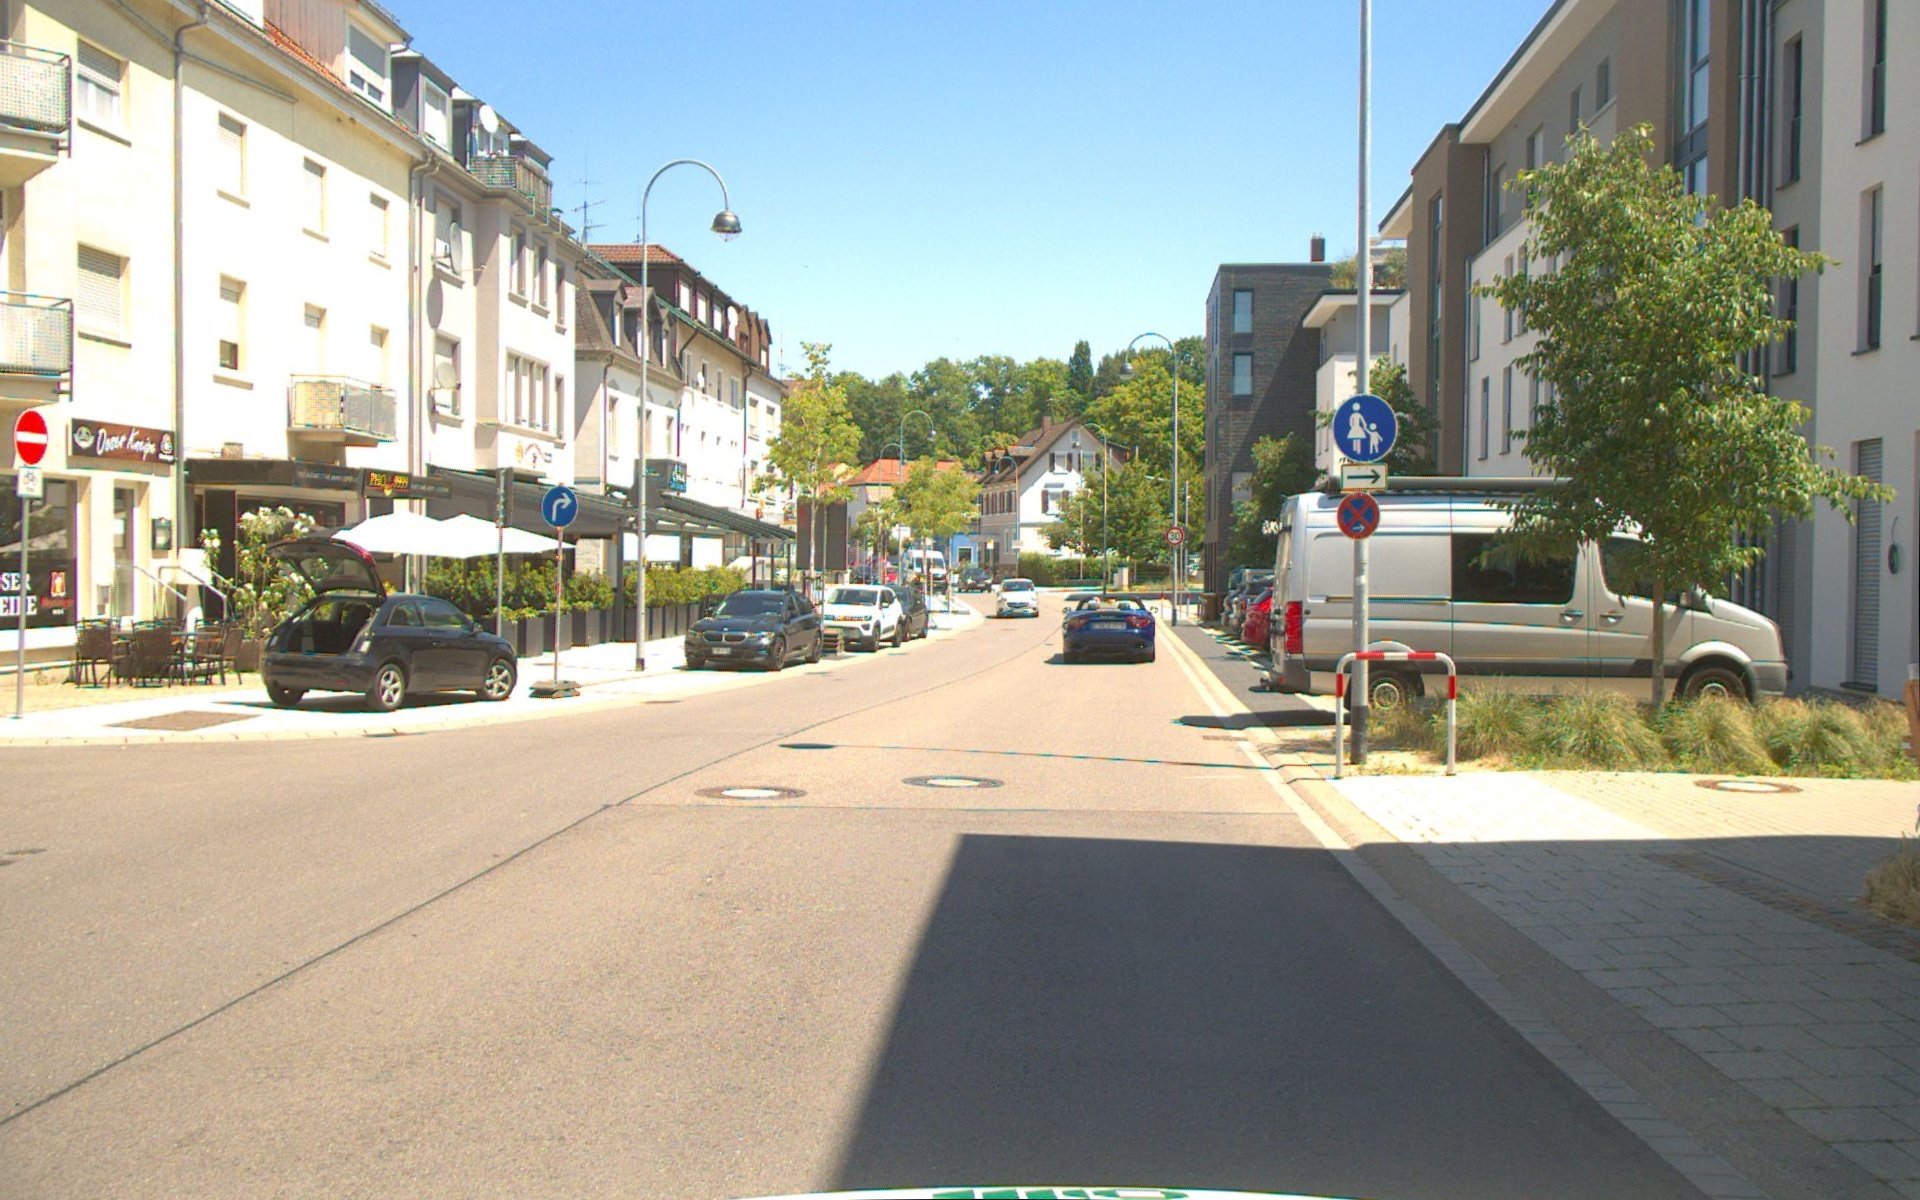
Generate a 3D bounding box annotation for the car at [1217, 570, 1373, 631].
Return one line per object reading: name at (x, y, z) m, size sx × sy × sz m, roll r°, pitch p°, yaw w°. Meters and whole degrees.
car at (8.857, -0.003, 44.006) m, size 3.896 × 1.555 × 1.742 m, roll 0°, pitch 1°, yaw 5°

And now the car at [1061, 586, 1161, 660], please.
car at (3.229, 0.427, 34.640) m, size 1.831 × 1.365 × 4.600 m, roll -1°, pitch 1°, yaw 8°

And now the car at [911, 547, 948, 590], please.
car at (-1.813, -1.856, 96.191) m, size 1.830 × 2.442 × 4.814 m, roll 0°, pitch 1°, yaw -5°

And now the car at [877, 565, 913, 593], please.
car at (-4.127, -1.352, 105.165) m, size 1.956 × 1.769 × 3.994 m, roll 0°, pitch 1°, yaw -7°

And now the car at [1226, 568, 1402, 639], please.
car at (8.397, 0.056, 39.540) m, size 3.896 × 1.633 × 1.944 m, roll 0°, pitch 1°, yaw 5°

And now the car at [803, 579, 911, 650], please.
car at (-2.410, 0.304, 39.800) m, size 1.610 × 1.505 × 3.945 m, roll 2°, pitch 2°, yaw 11°

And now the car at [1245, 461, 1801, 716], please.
car at (6.376, -0.160, 19.416) m, size 5.814 × 2.780 × 2.198 m, roll 0°, pitch 1°, yaw 6°

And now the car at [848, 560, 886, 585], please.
car at (-6.618, -1.970, 117.273) m, size 1.959 × 1.721 × 3.987 m, roll 1°, pitch 1°, yaw -13°

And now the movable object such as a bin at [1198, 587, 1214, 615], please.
movable object such as a bin at (8.464, 0.038, 56.961) m, size 0.525 × 0.945 × 0.623 m, roll -1°, pitch 0°, yaw 7°

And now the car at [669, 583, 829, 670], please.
car at (-3.991, 0.452, 32.116) m, size 1.795 × 1.454 × 4.787 m, roll 2°, pitch 1°, yaw 8°

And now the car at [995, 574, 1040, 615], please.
car at (2.322, -0.245, 65.650) m, size 1.652 × 1.483 × 4.060 m, roll -1°, pitch 1°, yaw 3°

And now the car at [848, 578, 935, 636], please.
car at (-1.827, 0.159, 45.275) m, size 1.634 × 1.468 × 4.013 m, roll 0°, pitch 1°, yaw 9°

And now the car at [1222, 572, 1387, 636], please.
car at (8.692, 0.087, 42.009) m, size 3.896 × 1.555 × 1.944 m, roll 0°, pitch 1°, yaw 5°

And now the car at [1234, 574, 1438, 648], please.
car at (7.700, 0.213, 34.183) m, size 3.886 × 1.433 × 1.858 m, roll -1°, pitch 1°, yaw 5°

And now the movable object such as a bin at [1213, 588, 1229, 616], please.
movable object such as a bin at (8.983, 0.063, 56.894) m, size 0.484 × 0.945 × 0.623 m, roll -1°, pitch 0°, yaw 7°

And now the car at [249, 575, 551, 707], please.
car at (-7.215, 0.487, 21.785) m, size 1.676 × 1.486 × 4.132 m, roll 3°, pitch 1°, yaw 16°

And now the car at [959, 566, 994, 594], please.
car at (0.990, -1.209, 100.089) m, size 1.629 × 1.634 × 3.995 m, roll -2°, pitch 1°, yaw -6°
